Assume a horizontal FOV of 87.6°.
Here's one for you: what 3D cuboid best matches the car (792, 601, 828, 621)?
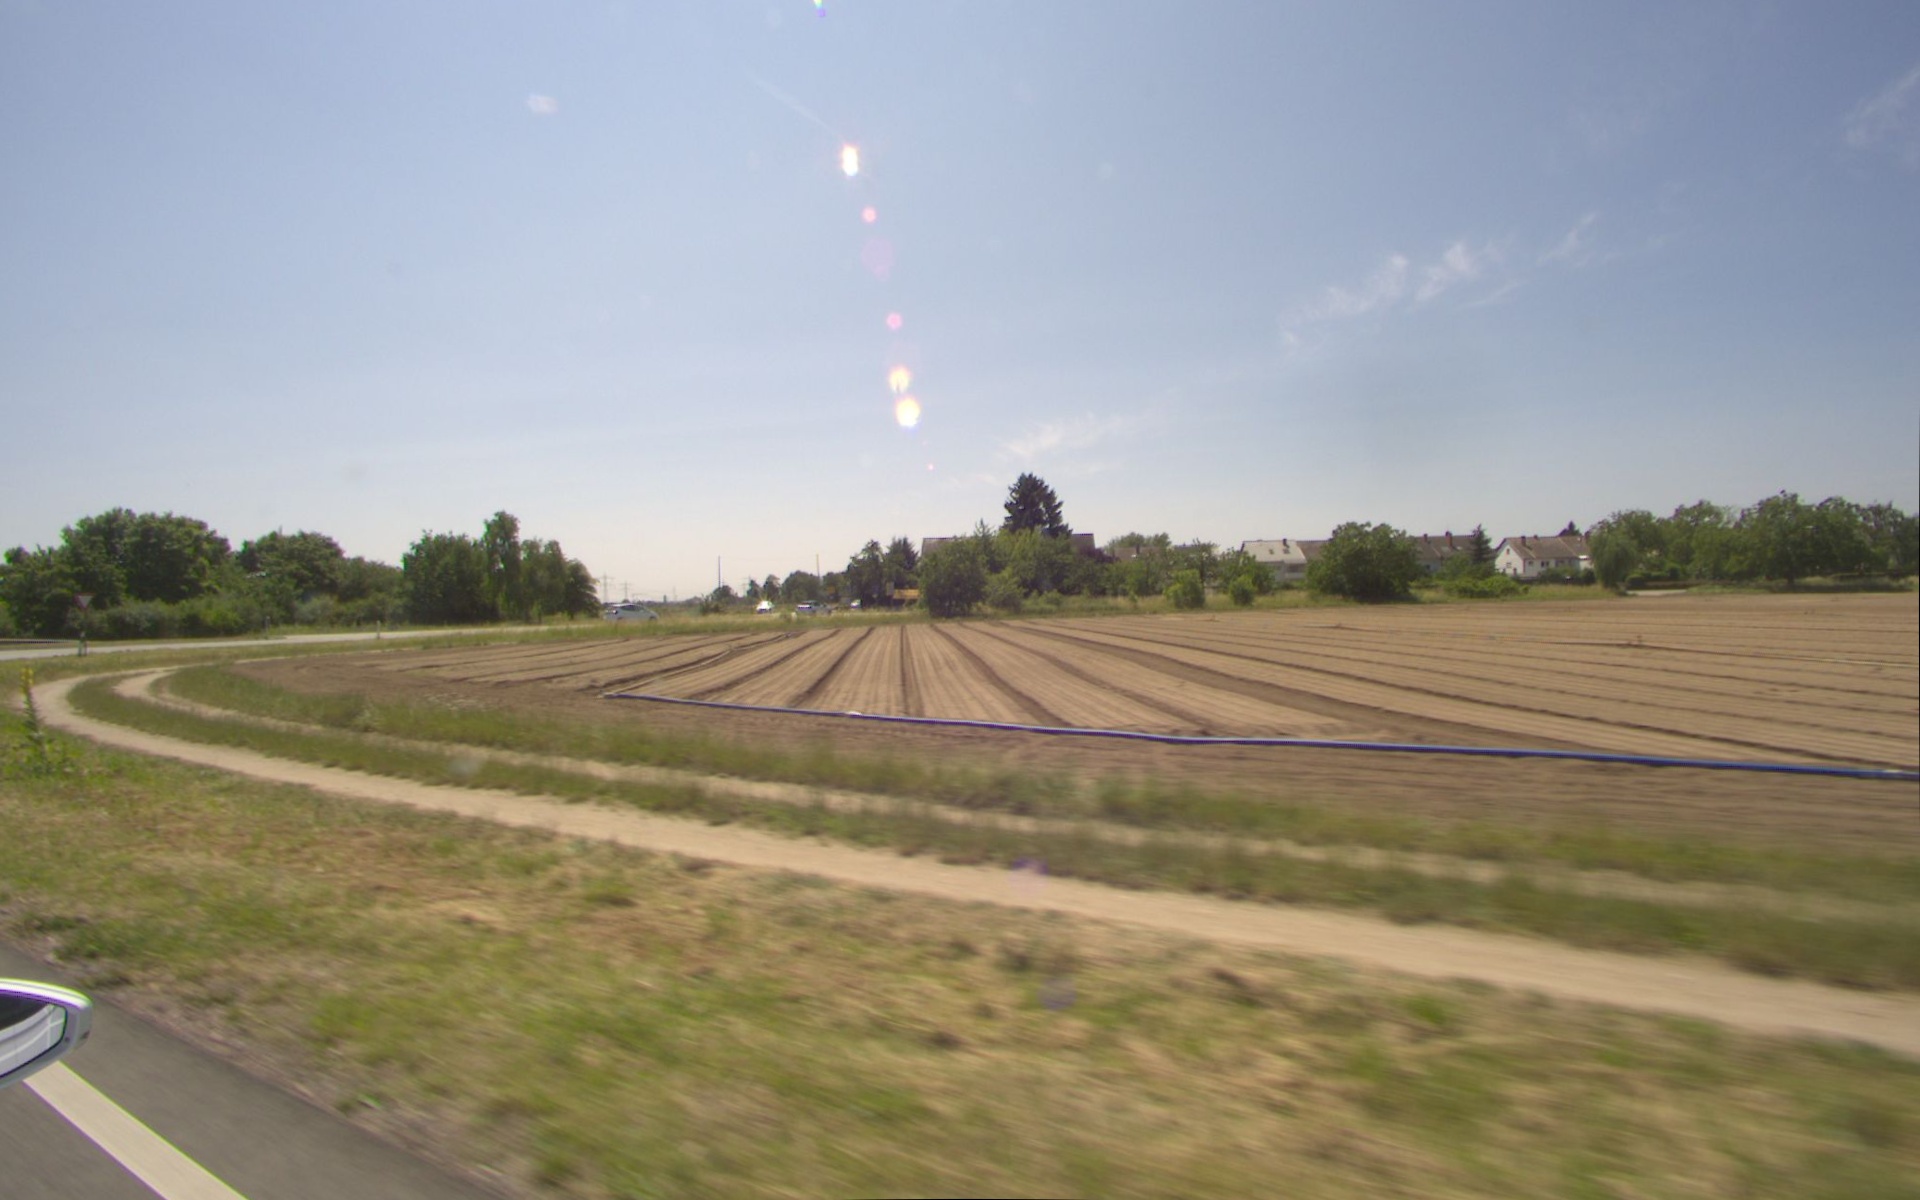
[{"bbox_3d":[-13.225,0.932,88.475,1.614,1.645,3.994,-1,0,16],"label":"car"}]

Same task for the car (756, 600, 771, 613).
[{"bbox_3d":[-24.667,0.781,125.800,1.613,1.645,4.763,-1,0,-10],"label":"car"}]

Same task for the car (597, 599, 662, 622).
[{"bbox_3d":[-24.614,0.768,74.650,2.050,1.645,4.102,0,1,45],"label":"car"}]
